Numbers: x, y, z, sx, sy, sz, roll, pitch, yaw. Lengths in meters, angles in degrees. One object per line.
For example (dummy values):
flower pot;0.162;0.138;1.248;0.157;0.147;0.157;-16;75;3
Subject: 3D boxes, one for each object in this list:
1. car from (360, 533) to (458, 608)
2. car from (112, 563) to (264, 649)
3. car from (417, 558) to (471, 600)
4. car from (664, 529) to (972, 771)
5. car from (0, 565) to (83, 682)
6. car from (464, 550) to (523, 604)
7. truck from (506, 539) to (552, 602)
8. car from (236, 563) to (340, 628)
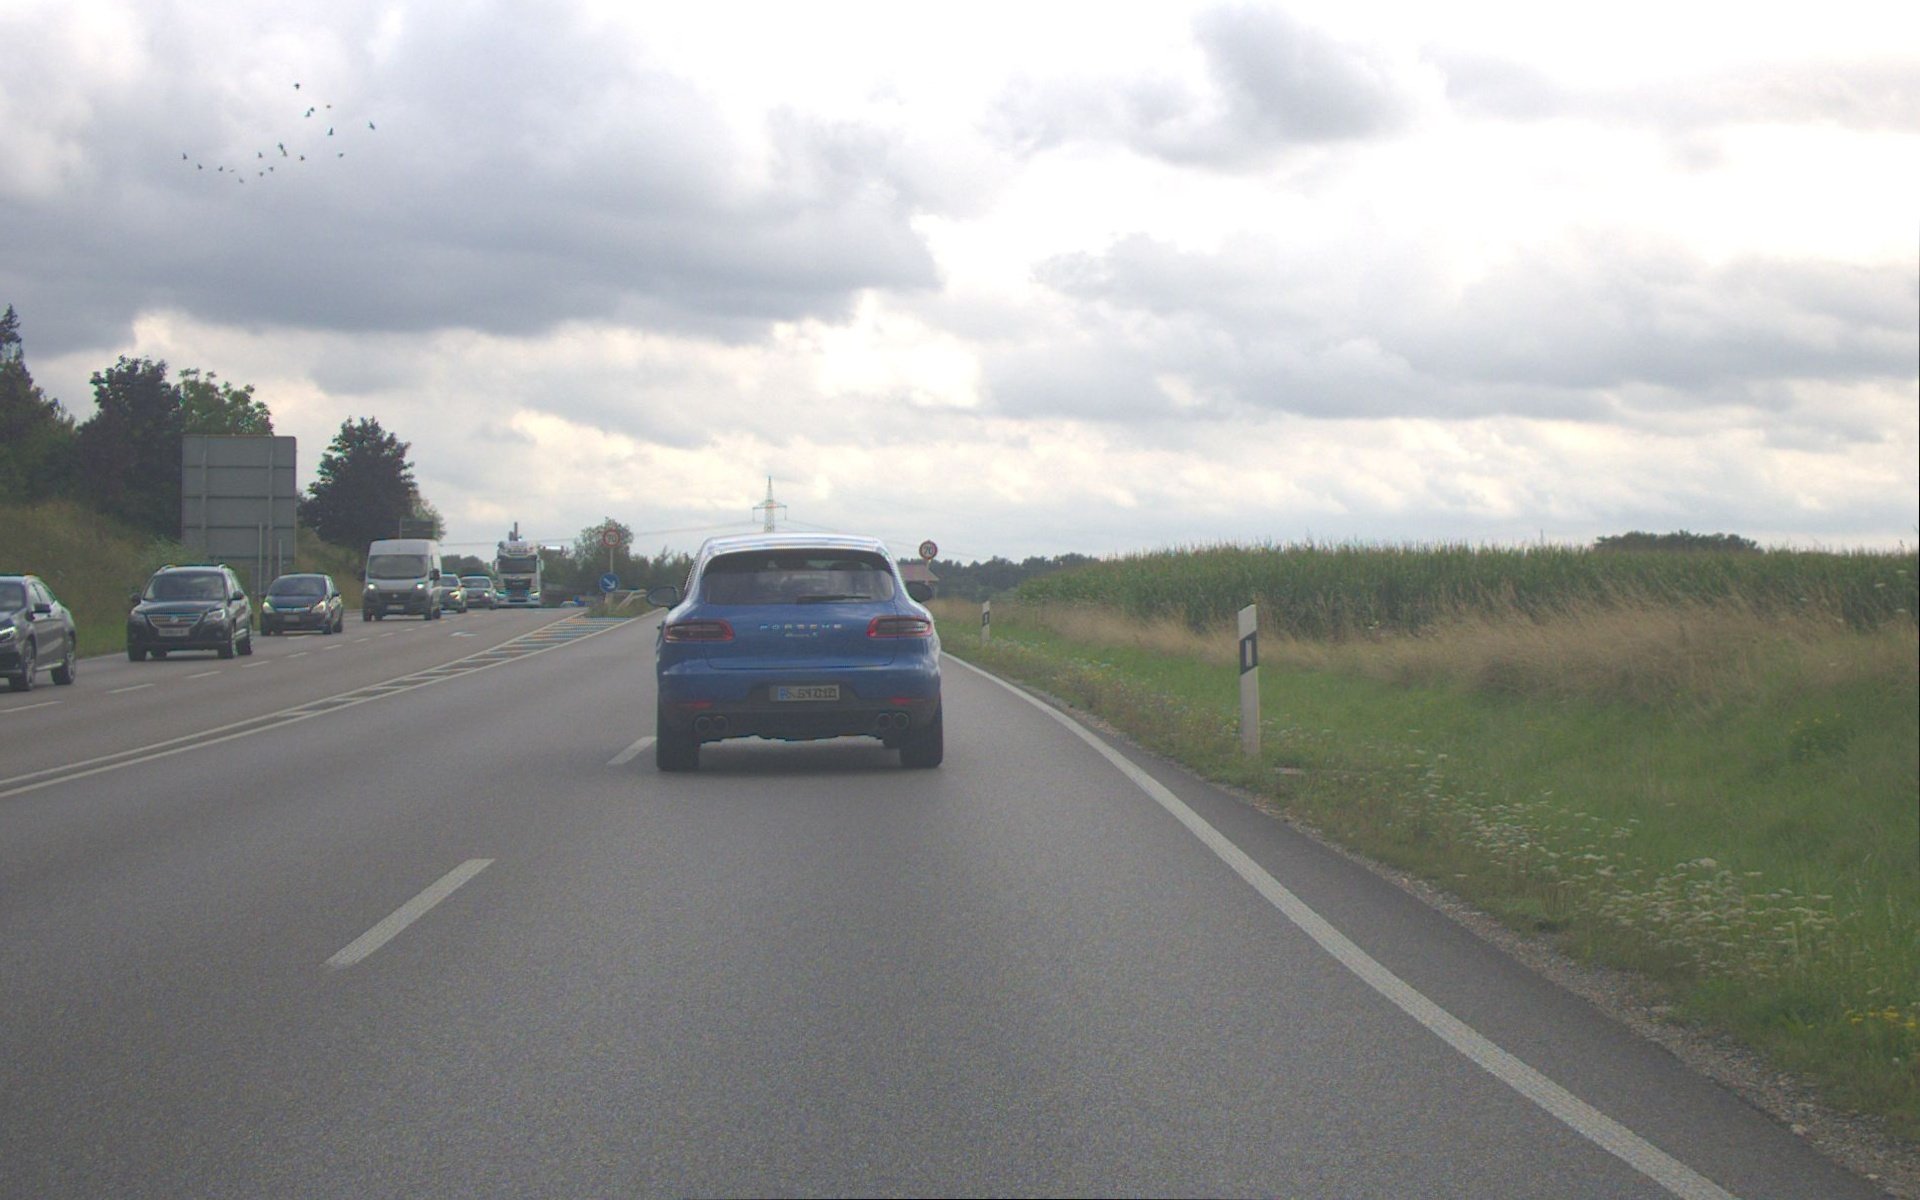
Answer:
car;-16.807;-0.908;105.070;2.363;2.204;5.923;-1;1;-4
car;-13.902;0.083;62.114;1.993;1.503;4.000;0;1;-2
car;-18.908;-0.784;126.120;1.812;1.483;4.001;-1;1;-7
car;-1.117;0.304;24.666;1.993;1.565;4.757;0;0;-5
car;-13.061;0.287;45.904;1.796;1.481;4.169;-1;1;-2
car;-19.598;-0.984;144.626;2.363;2.204;5.309;-1;1;-7
truck;-25.817;-1.823;206.162;2.567;3.623;14.664;-1;1;-7
car;-16.274;-0.128;83.421;1.993;1.486;4.001;-1;1;-4
